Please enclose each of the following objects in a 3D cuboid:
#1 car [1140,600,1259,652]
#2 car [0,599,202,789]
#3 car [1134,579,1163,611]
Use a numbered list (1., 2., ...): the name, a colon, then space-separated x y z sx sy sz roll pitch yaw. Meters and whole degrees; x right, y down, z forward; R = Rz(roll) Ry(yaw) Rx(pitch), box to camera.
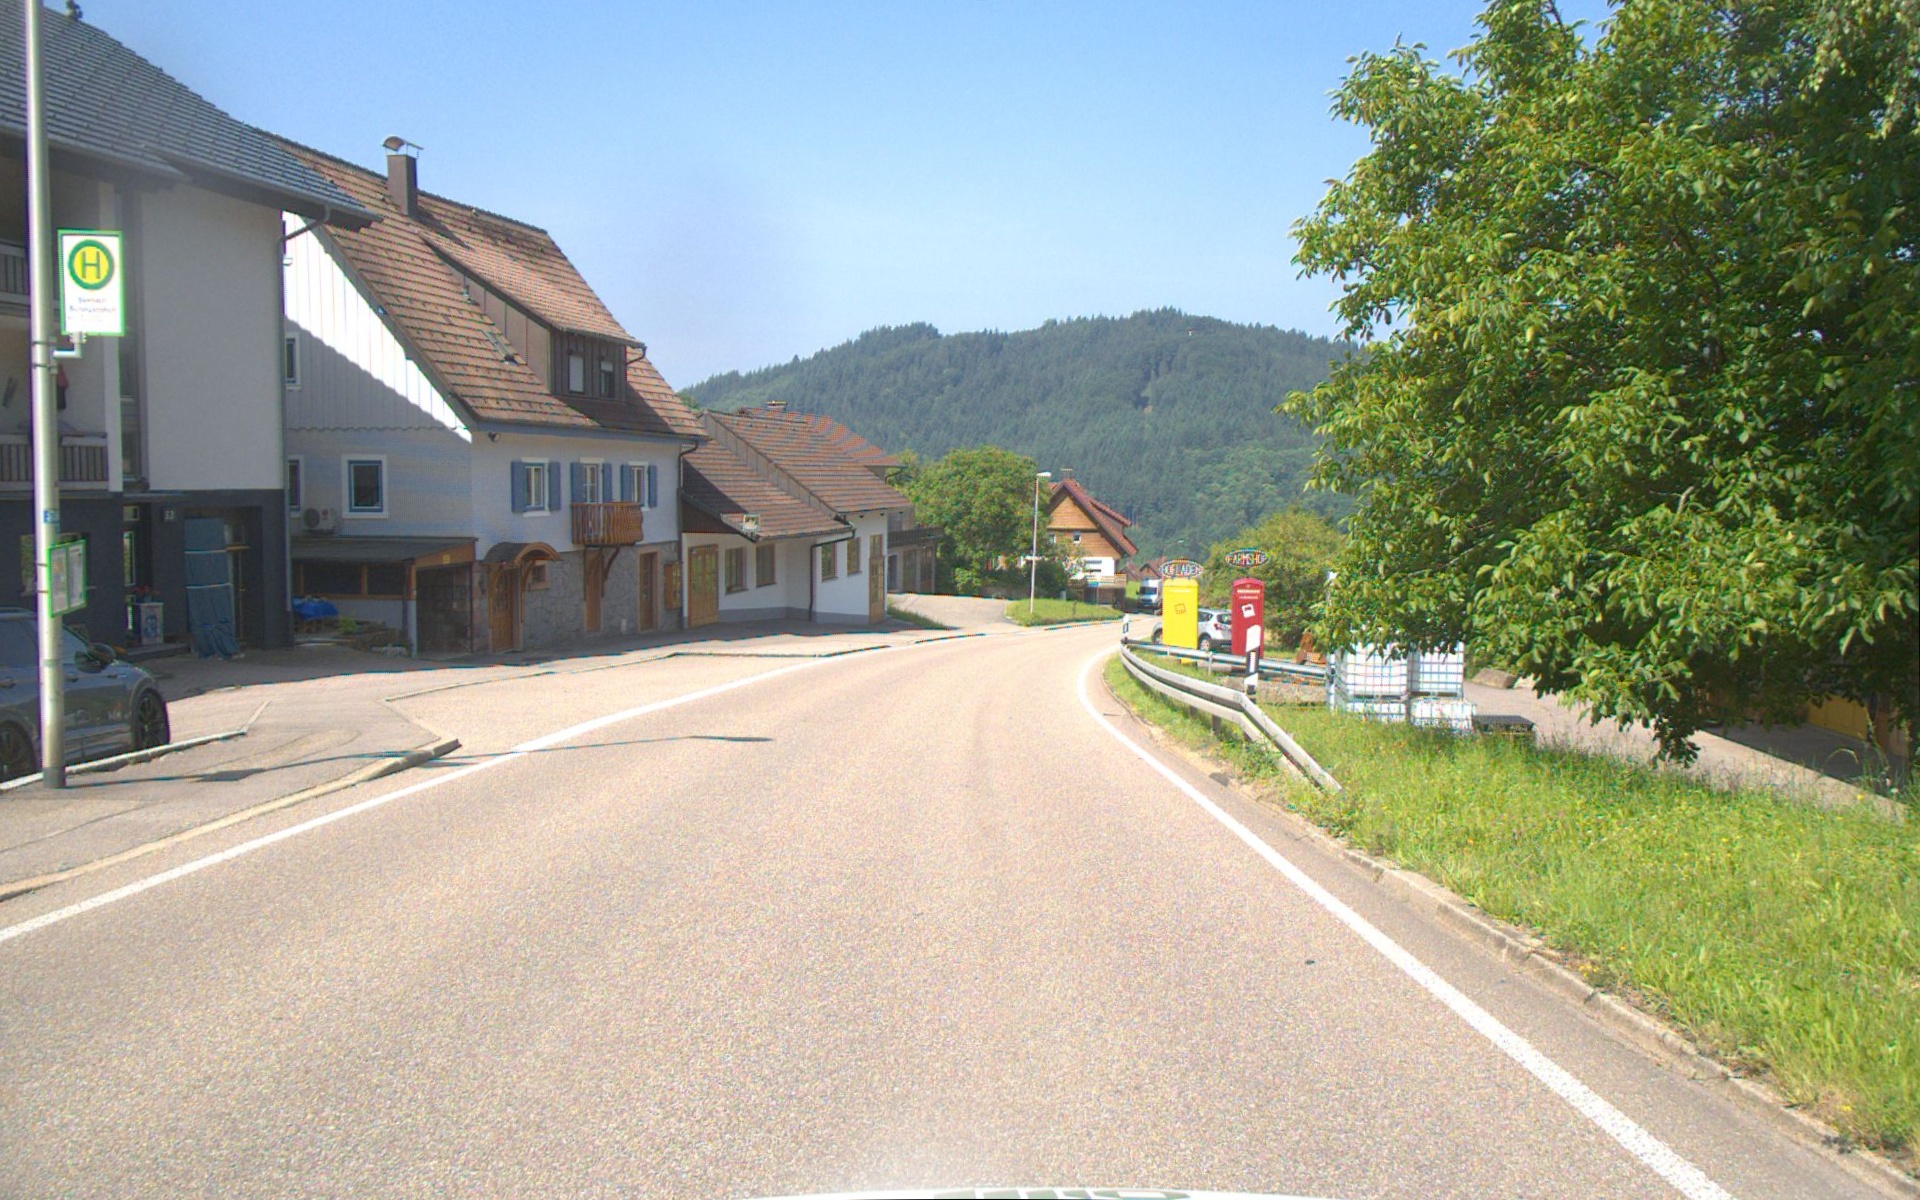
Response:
1. car: 8.687 0.926 60.432 1.880 1.598 4.416 3 1 -31
2. car: -8.106 0.694 13.779 1.747 1.362 4.691 1 0 -5
3. car: 18.479 -0.553 161.700 2.023 2.734 7.182 1 3 13
